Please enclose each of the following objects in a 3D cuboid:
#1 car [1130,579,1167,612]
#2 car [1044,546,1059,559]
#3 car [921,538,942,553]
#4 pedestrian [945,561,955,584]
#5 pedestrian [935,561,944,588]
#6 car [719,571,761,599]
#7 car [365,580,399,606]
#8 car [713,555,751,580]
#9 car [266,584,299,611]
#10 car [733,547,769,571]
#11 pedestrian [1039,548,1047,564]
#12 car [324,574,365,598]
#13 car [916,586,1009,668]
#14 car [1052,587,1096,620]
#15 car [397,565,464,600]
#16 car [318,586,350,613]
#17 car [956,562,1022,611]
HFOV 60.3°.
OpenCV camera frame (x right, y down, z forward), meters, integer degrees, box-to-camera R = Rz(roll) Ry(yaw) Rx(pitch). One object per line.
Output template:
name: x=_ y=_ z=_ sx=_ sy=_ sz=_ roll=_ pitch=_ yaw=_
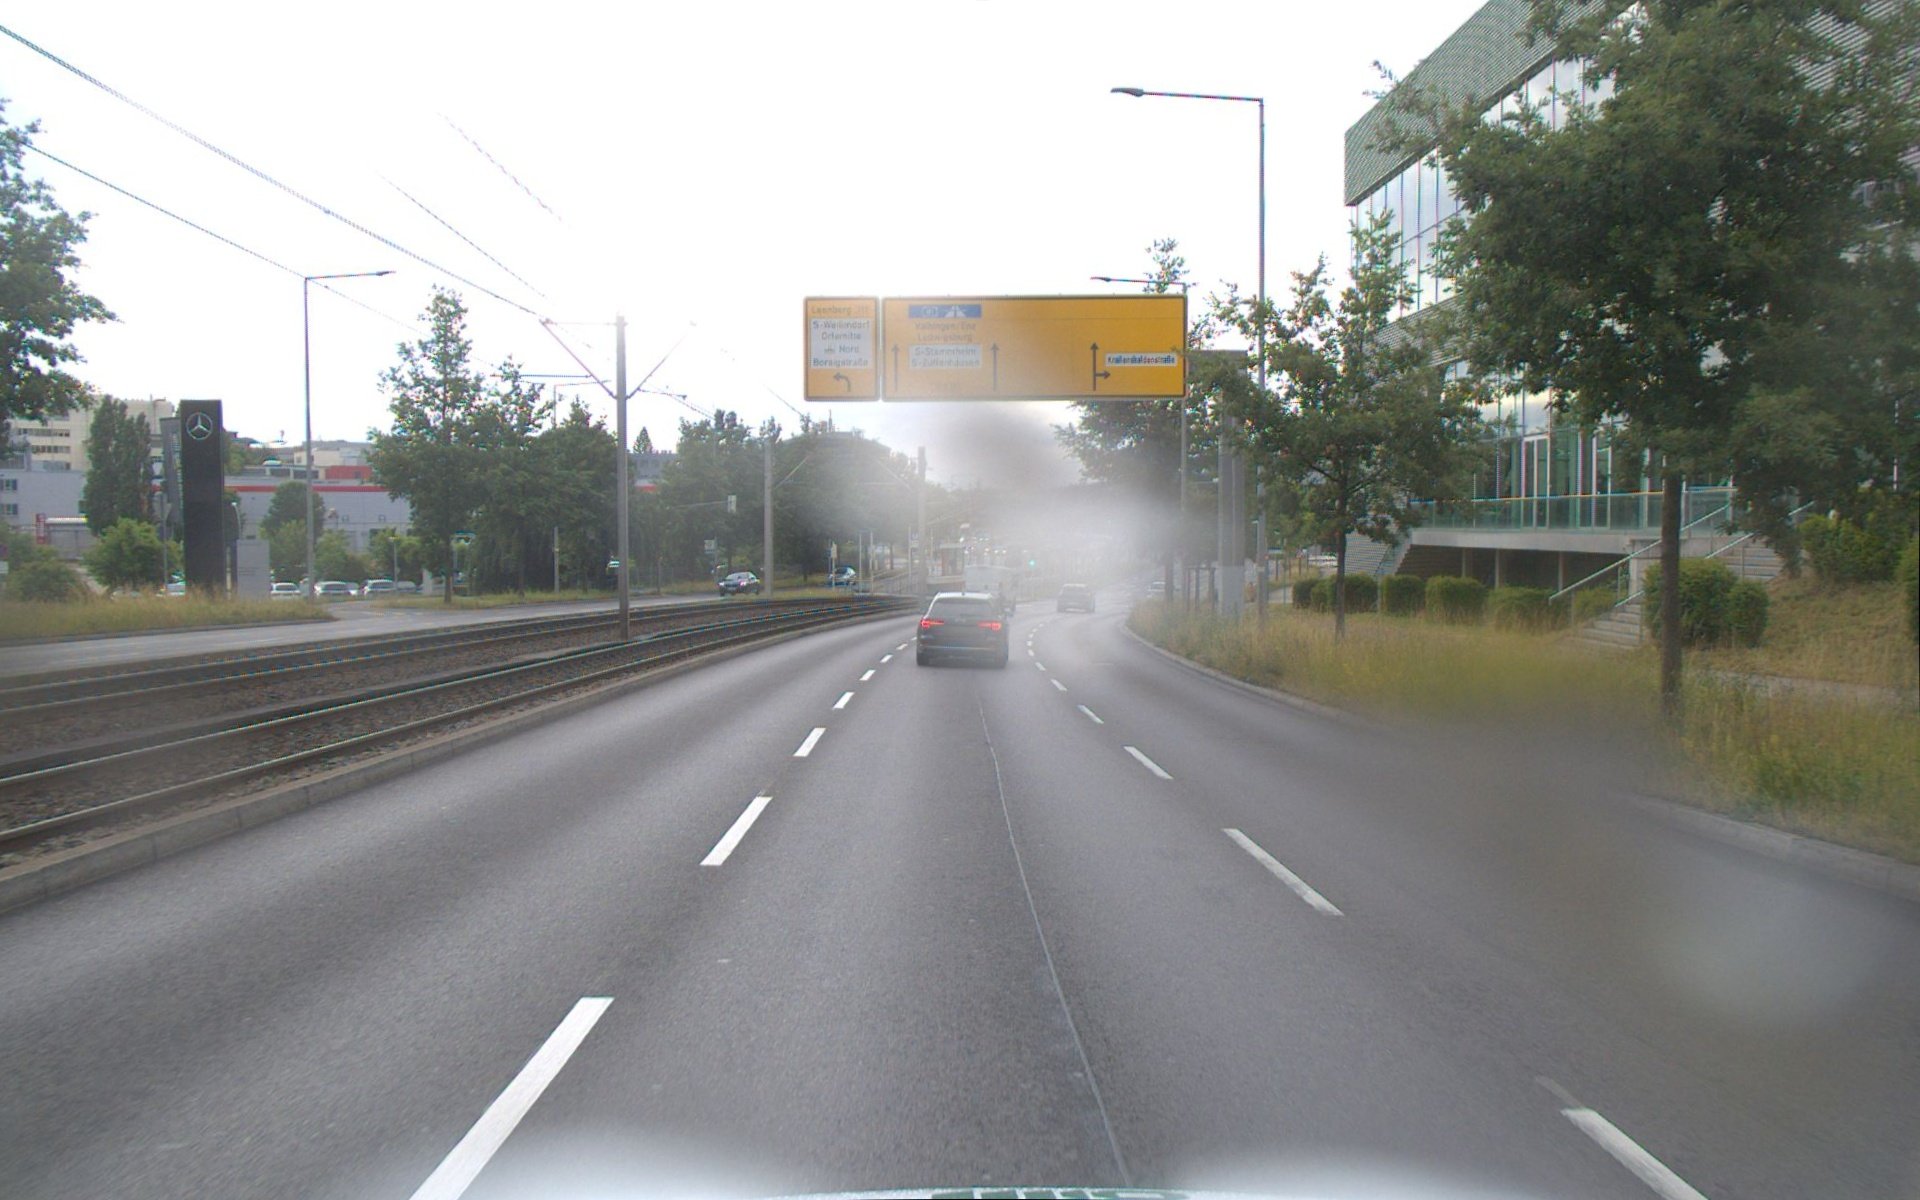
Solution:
car: x=11.821 y=-0.302 z=103.606 sx=1.978 sy=1.800 sz=4.005 roll=2 pitch=3 yaw=11
car: x=14.409 y=-7.468 z=260.474 sx=1.951 sy=1.825 sz=4.003 roll=2 pitch=-1 yaw=10
car: x=-4.420 y=-8.387 z=254.068 sx=1.964 sy=2.049 sz=3.977 roll=2 pitch=-1 yaw=-20
pedestrian: x=-0.833 y=-2.326 z=139.002 sx=0.623 sy=1.886 sz=0.751 roll=1 pitch=-1 yaw=11
pedestrian: x=-1.534 y=-1.930 z=123.944 sx=0.537 sy=1.987 sz=0.664 roll=2 pitch=-1 yaw=7
car: x=-13.433 y=-0.944 z=101.277 sx=1.844 sy=1.547 sz=4.404 roll=-3 pitch=1 yaw=1
car: x=-35.033 y=-0.425 z=100.150 sx=1.727 sy=1.520 sz=3.973 roll=2 pitch=-1 yaw=-22
car: x=-20.291 y=-2.884 z=147.549 sx=1.951 sy=2.049 sz=4.003 roll=2 pitch=0 yaw=14
car: x=-40.286 y=-0.119 z=98.361 sx=1.727 sy=1.520 sz=3.973 roll=2 pitch=-1 yaw=-22
car: x=-19.277 y=-3.773 z=152.796 sx=1.951 sy=2.049 sz=4.003 roll=2 pitch=0 yaw=14
pedestrian: x=9.626 y=-5.120 z=192.481 sx=0.736 sy=1.781 sz=0.764 roll=1 pitch=-1 yaw=12
car: x=-41.014 y=-0.930 z=110.159 sx=1.972 sy=1.536 sz=3.961 roll=2 pitch=-1 yaw=-29
car: x=0.039 y=0.487 z=33.658 sx=1.728 sy=1.489 sz=4.627 roll=1 pitch=1 yaw=0
car: x=6.003 y=0.204 z=86.747 sx=1.978 sy=1.651 sz=4.003 roll=2 pitch=-1 yaw=8
car: x=-27.749 y=-0.920 z=86.761 sx=1.952 sy=1.679 sz=4.002 roll=2 pitch=-1 yaw=4
car: x=-37.648 y=-0.015 z=99.438 sx=1.727 sy=1.520 sz=3.973 roll=2 pitch=-1 yaw=-22
car: x=1.470 y=-0.630 z=81.927 sx=2.458 sy=2.215 sz=5.153 roll=2 pitch=-1 yaw=10
